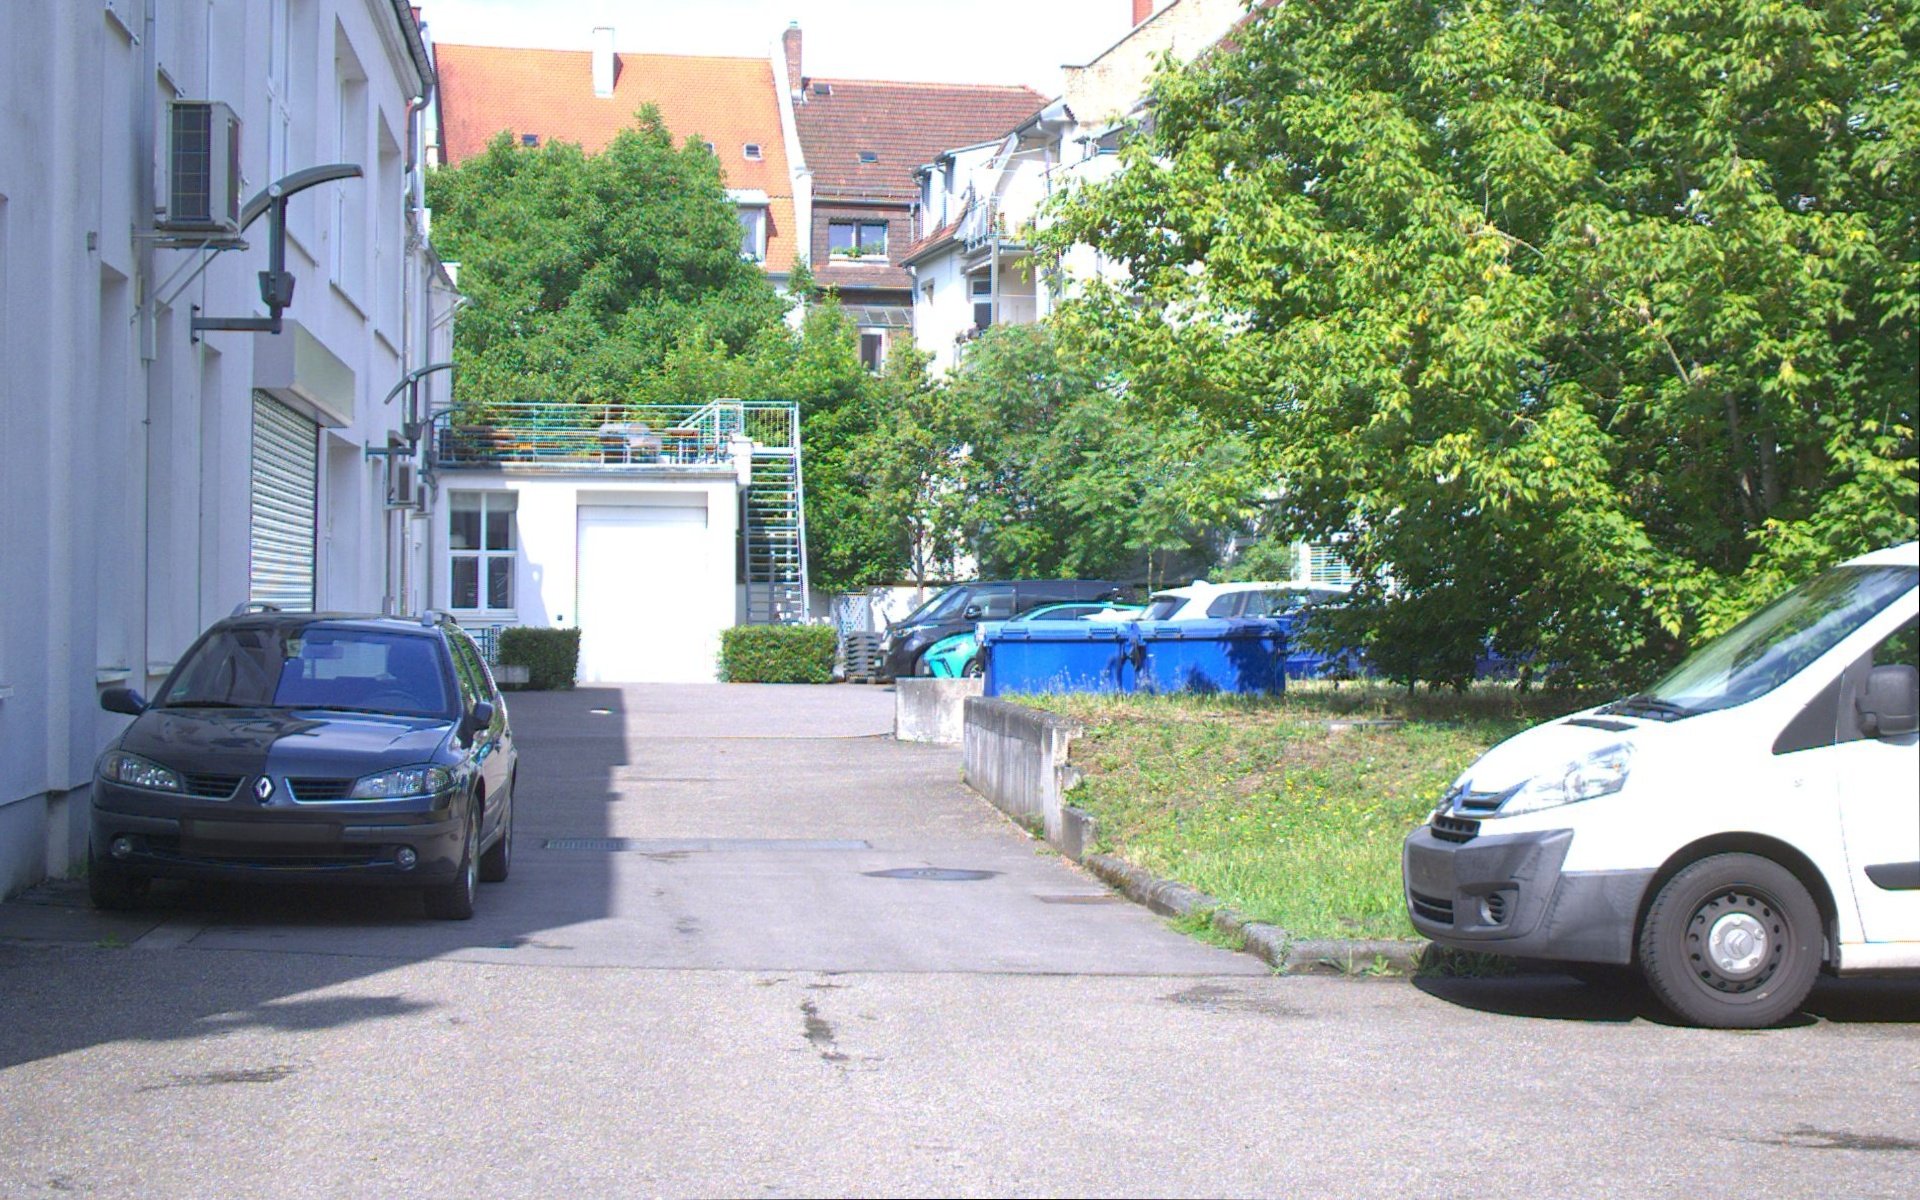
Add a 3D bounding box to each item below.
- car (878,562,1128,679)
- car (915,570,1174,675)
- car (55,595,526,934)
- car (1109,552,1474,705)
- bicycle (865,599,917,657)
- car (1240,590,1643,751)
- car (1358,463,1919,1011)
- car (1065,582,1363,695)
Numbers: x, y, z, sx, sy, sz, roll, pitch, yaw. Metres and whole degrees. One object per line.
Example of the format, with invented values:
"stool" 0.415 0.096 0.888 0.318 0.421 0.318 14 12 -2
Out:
"car" 0.719 0.340 59.123 3.986 1.811 1.664 2 1 -11
"car" 1.374 0.356 56.405 3.986 1.568 1.630 0 4 -11
"car" -3.193 0.737 17.190 1.879 1.437 4.341 2 -1 -6
"car" 3.986 0.323 41.656 3.986 1.739 1.950 0 3 -11
"bicycle" -1.386 0.552 68.928 0.640 1.113 1.859 0 0 -14
"car" 5.432 0.788 38.982 4.111 1.600 1.756 2 1 -11
"car" 4.190 0.512 13.459 4.938 1.958 2.000 0 -1 -4
"car" 3.639 0.532 49.466 3.986 1.440 1.630 -1 4 -11
